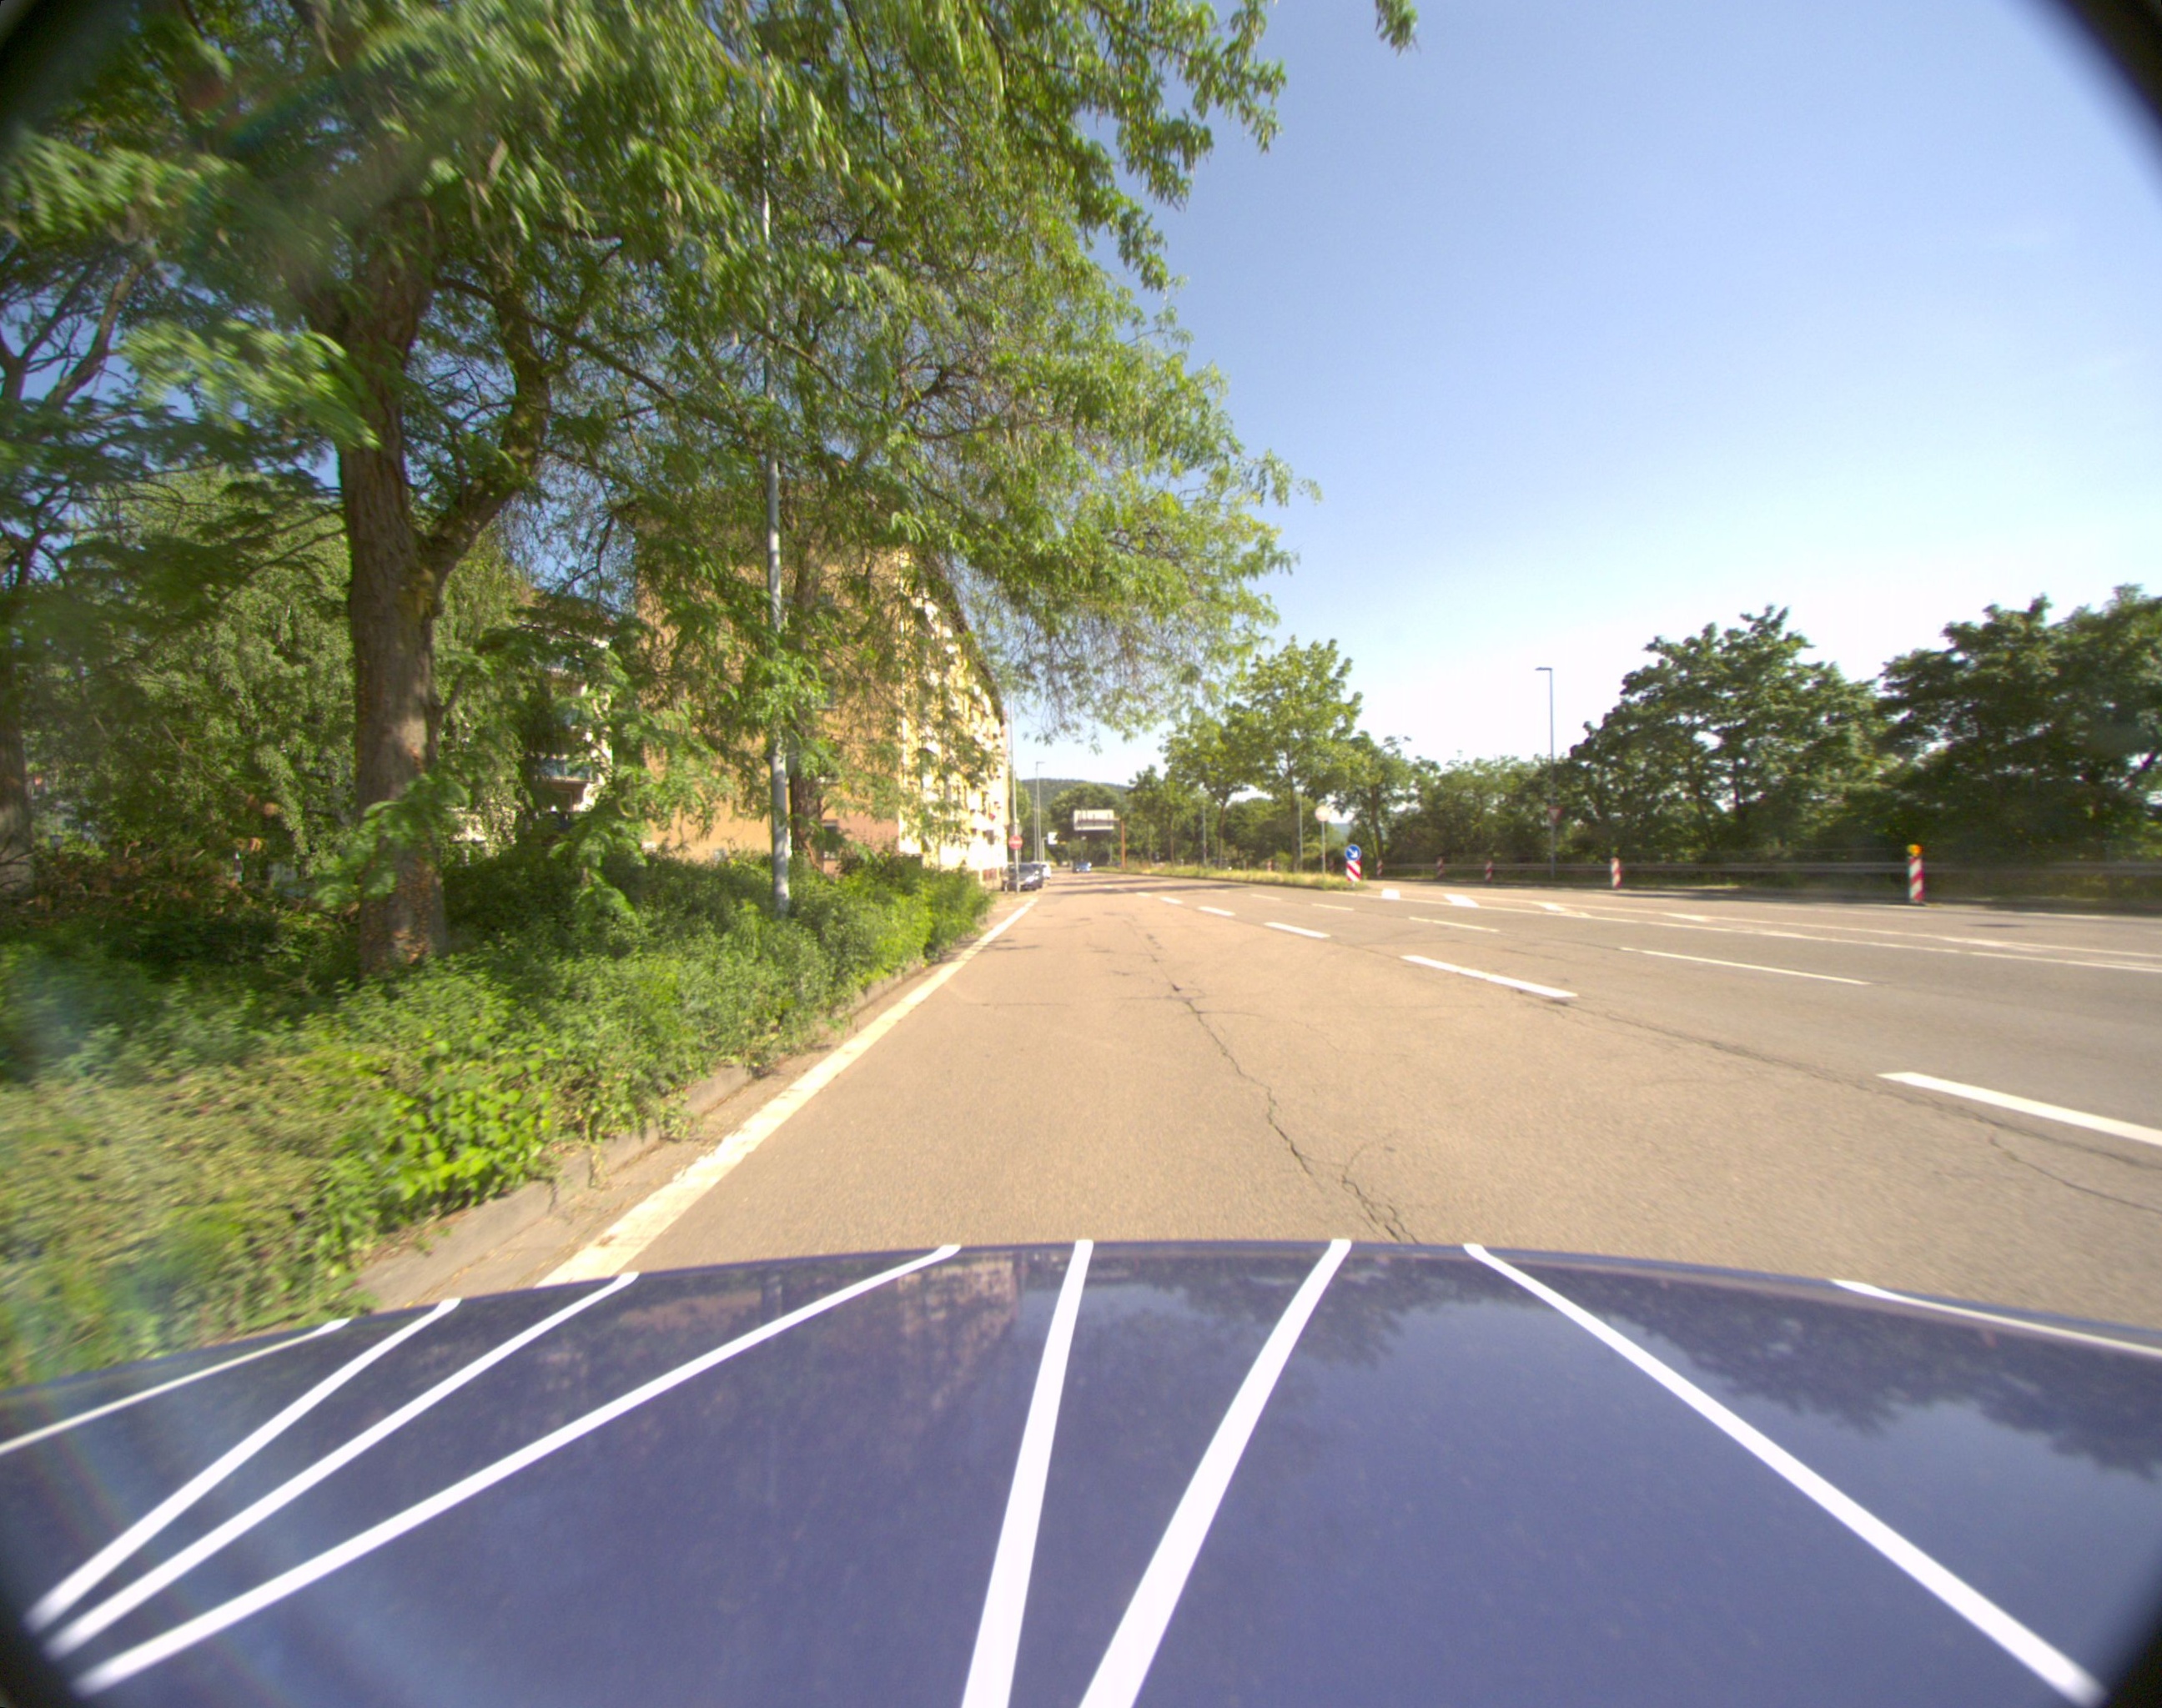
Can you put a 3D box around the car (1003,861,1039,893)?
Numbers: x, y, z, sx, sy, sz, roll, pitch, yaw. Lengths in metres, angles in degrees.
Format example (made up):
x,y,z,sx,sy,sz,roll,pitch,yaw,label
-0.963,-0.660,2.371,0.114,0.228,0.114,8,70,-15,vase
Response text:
x,y,z,sx,sy,sz,roll,pitch,yaw,label
-3.085,1.128,39.301,1.708,1.505,4.090,-1,0,-4,car

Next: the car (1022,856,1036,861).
x,y,z,sx,sy,sz,roll,pitch,yaw,label
-14.154,1.193,207.222,2.003,1.519,4.687,0,0,-27,car

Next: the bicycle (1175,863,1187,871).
x,y,z,sx,sy,sz,roll,pitch,yaw,label
11.306,1.449,85.776,0.695,0.900,2.340,-1,0,-8,bicycle

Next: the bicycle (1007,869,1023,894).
x,y,z,sx,sy,sz,roll,pitch,yaw,label
-3.042,1.244,34.792,0.704,1.117,1.744,-1,0,-6,bicycle

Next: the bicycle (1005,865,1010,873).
x,y,z,sx,sy,sz,roll,pitch,yaw,label
-9.679,1.999,100.432,0.652,0.964,1.863,-1,0,-6,bicycle

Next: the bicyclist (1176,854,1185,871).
x,y,z,sx,sy,sz,roll,pitch,yaw,label
11.283,0.951,85.870,0.698,1.821,1.016,-1,0,-8,bicyclist

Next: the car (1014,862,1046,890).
x,y,z,sx,sy,sz,roll,pitch,yaw,label
-2.930,1.231,44.043,1.715,1.453,4.255,-1,0,-3,car

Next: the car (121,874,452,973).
x,y,z,sx,sy,sz,roll,pitch,yaw,label
-14.681,1.233,14.294,3.972,1.539,1.839,-2,0,-9,car

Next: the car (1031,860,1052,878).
x,y,z,sx,sy,sz,roll,pitch,yaw,label
-3.572,1.303,68.452,1.761,1.497,4.126,-3,0,-3,car

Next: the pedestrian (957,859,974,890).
x,y,z,sx,sy,sz,roll,pitch,yaw,label
-6.005,1.064,39.530,0.657,1.600,0.824,-1,0,1,pedestrian

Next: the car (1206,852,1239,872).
x,y,z,sx,sy,sz,roll,pitch,yaw,label
14.250,0.796,76.773,2.000,1.723,4.727,5,0,-5,car

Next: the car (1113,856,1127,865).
x,y,z,sx,sy,sz,roll,pitch,yaw,label
6.963,1.220,135.455,1.803,1.521,3.998,-2,0,-6,car

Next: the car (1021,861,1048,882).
x,y,z,sx,sy,sz,roll,pitch,yaw,label
-3.384,1.221,55.192,1.805,1.429,4.588,-1,0,-4,car

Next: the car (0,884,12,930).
x,y,z,sx,sy,sz,roll,pitch,yaw,label
-40.609,1.952,26.140,4.004,1.630,1.906,-1,0,-22,car
